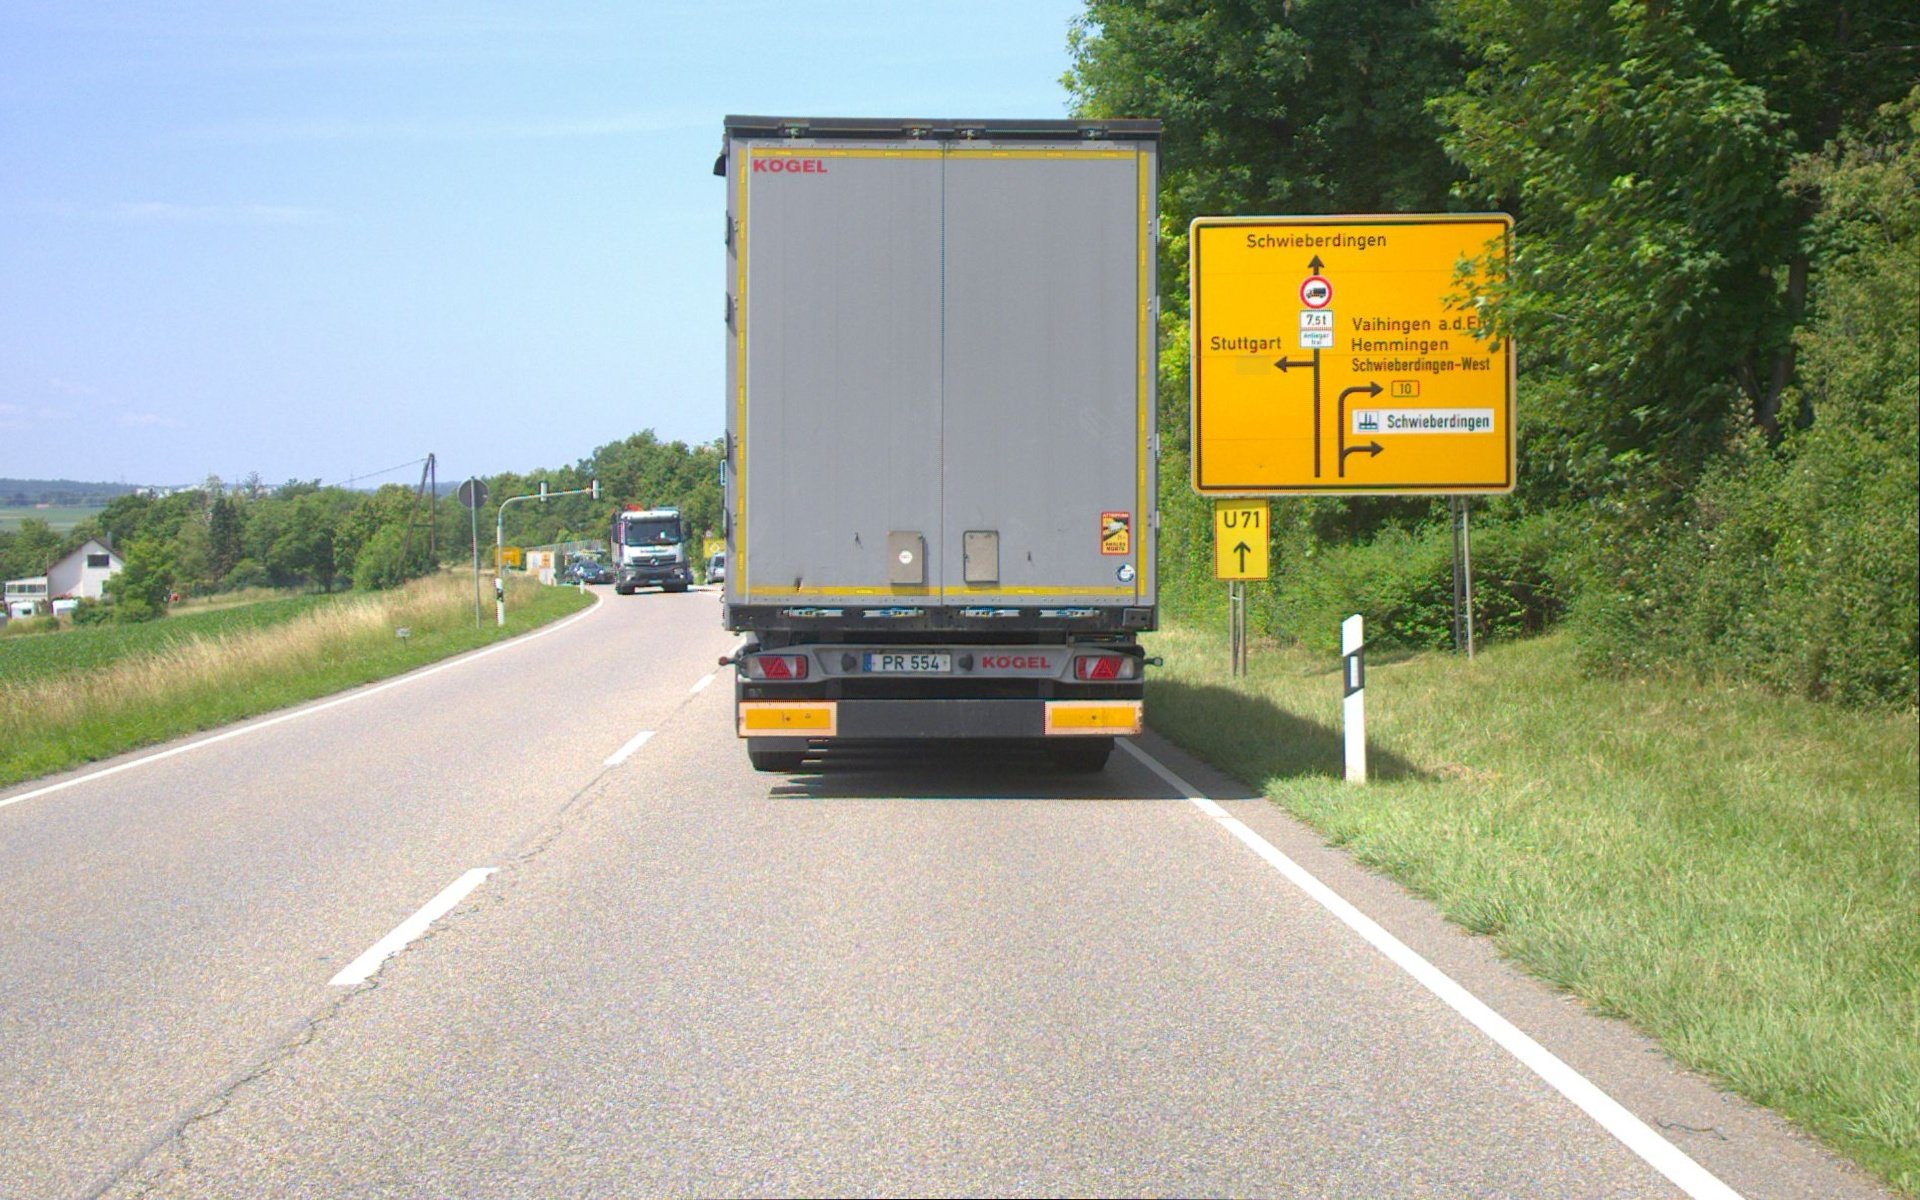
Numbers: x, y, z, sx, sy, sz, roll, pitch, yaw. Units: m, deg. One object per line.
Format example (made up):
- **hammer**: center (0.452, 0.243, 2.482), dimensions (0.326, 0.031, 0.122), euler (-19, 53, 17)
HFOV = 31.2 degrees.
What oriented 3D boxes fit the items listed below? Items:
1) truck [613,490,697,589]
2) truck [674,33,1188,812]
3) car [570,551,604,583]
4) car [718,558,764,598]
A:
- **truck**: center (-11.930, -2.289, 133.889), dimensions (2.756, 3.564, 11.067), euler (-3, 1, -7)
- **truck**: center (-0.439, -1.076, 23.912), dimensions (2.907, 4.395, 8.861), euler (0, 1, -4)
- **car**: center (-24.070, -2.101, 221.774), dimensions (1.993, 1.943, 4.504), euler (-3, 1, -8)
- **car**: center (-11.696, -1.174, 183.298), dimensions (2.171, 2.007, 4.527), euler (-3, 1, -6)
